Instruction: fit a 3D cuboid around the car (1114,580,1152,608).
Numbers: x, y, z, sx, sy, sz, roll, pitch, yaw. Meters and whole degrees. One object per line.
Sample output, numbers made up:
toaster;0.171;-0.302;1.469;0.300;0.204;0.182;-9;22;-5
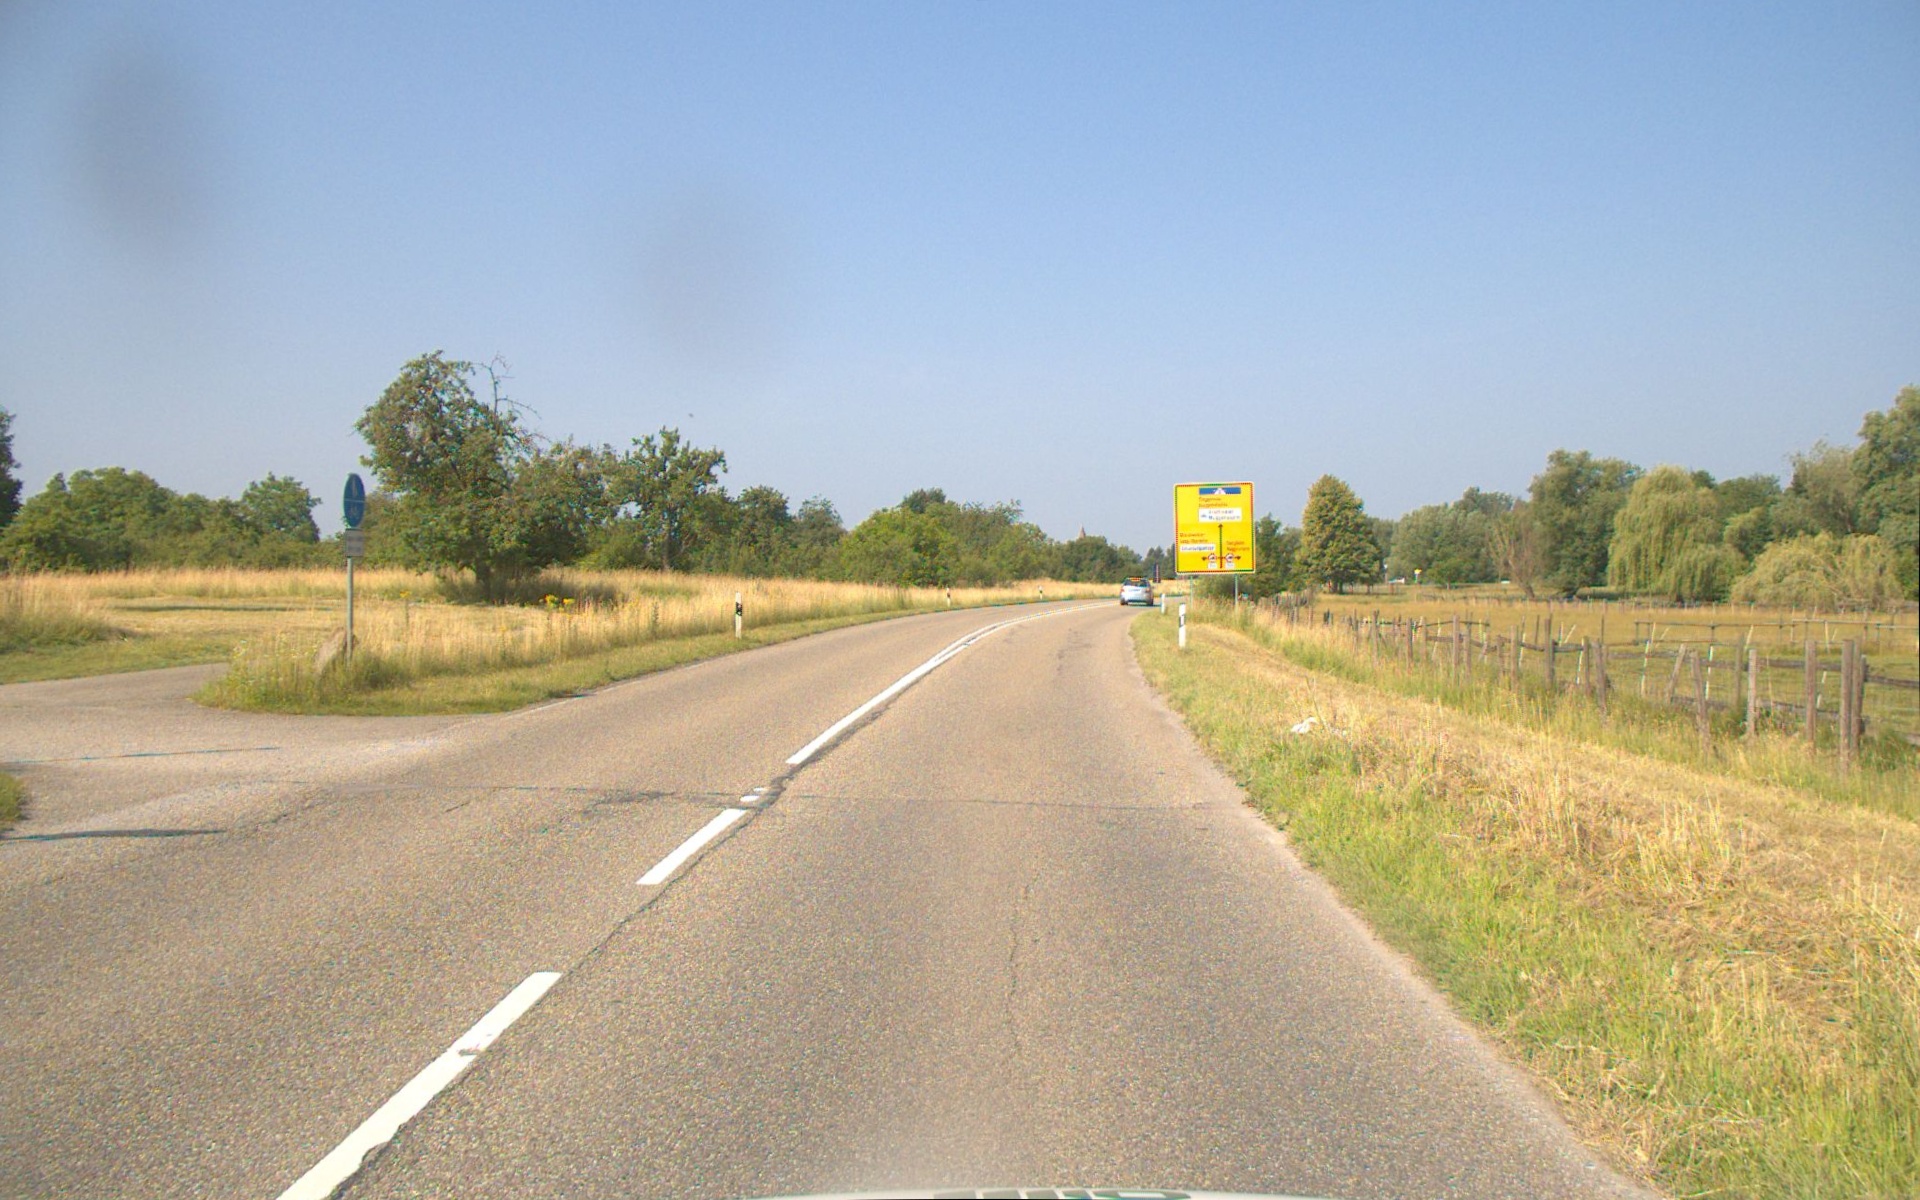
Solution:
car;10.334;-0.357;98.537;1.858;1.538;4.004;2;0;11
